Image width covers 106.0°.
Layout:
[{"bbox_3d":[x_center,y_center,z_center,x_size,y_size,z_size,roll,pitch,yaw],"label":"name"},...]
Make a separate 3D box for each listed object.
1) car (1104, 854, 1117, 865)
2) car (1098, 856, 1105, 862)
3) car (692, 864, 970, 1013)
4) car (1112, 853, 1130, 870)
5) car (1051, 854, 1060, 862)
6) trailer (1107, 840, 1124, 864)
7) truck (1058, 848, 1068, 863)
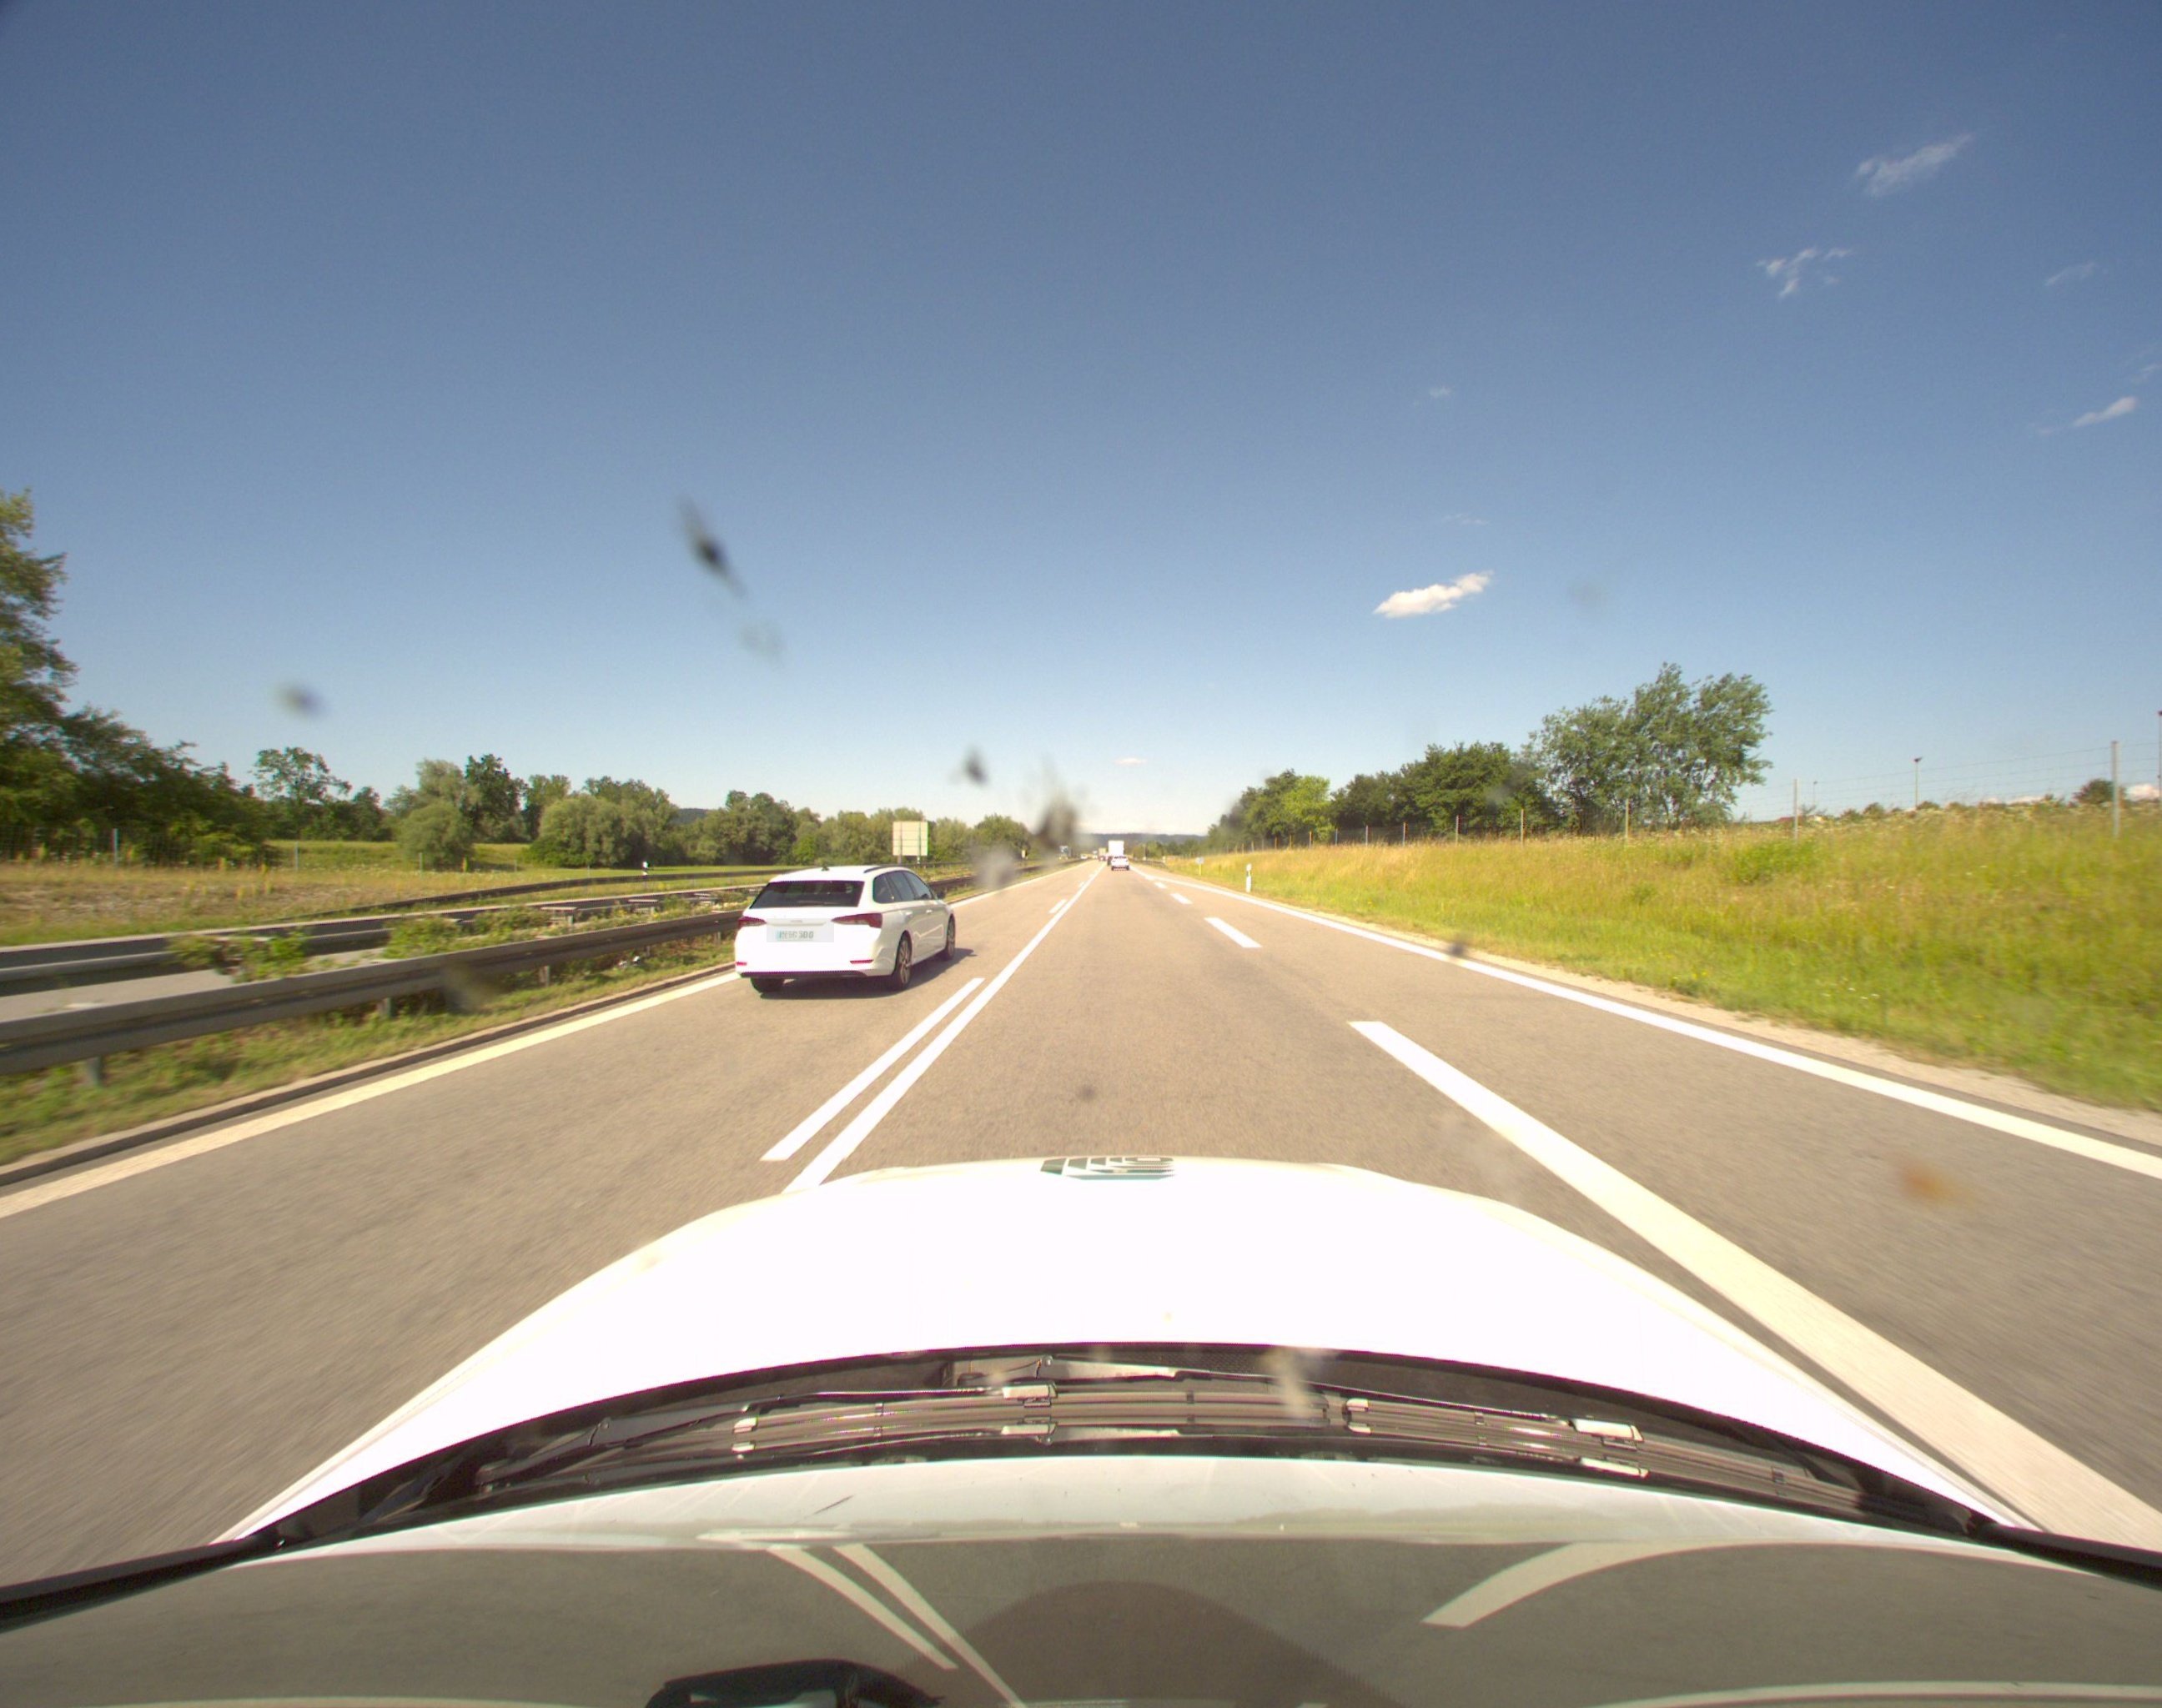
[{"bbox_3d":[4.150,0.712,114.158,1.658,1.454,4.547,2,0,3],"label":"car"},{"bbox_3d":[5.656,1.304,220.548,1.764,1.421,4.498,1,0,3],"label":"car"},{"bbox_3d":[-2.884,0.883,10.834,1.833,1.421,5.258,-1,0,2],"label":"car"},{"bbox_3d":[3.945,0.751,80.885,1.678,1.496,4.990,-2,0,2],"label":"car"},{"bbox_3d":[-6.133,1.028,196.192,1.842,1.803,4.873,-2,1,2],"label":"car"},{"bbox_3d":[6.123,-0.384,143.214,2.806,3.966,14.171,-1,0,3],"label":"trailer"},{"bbox_3d":[-5.244,0.408,241.951,2.730,4.302,6.336,-1,0,1],"label":"truck"}]
